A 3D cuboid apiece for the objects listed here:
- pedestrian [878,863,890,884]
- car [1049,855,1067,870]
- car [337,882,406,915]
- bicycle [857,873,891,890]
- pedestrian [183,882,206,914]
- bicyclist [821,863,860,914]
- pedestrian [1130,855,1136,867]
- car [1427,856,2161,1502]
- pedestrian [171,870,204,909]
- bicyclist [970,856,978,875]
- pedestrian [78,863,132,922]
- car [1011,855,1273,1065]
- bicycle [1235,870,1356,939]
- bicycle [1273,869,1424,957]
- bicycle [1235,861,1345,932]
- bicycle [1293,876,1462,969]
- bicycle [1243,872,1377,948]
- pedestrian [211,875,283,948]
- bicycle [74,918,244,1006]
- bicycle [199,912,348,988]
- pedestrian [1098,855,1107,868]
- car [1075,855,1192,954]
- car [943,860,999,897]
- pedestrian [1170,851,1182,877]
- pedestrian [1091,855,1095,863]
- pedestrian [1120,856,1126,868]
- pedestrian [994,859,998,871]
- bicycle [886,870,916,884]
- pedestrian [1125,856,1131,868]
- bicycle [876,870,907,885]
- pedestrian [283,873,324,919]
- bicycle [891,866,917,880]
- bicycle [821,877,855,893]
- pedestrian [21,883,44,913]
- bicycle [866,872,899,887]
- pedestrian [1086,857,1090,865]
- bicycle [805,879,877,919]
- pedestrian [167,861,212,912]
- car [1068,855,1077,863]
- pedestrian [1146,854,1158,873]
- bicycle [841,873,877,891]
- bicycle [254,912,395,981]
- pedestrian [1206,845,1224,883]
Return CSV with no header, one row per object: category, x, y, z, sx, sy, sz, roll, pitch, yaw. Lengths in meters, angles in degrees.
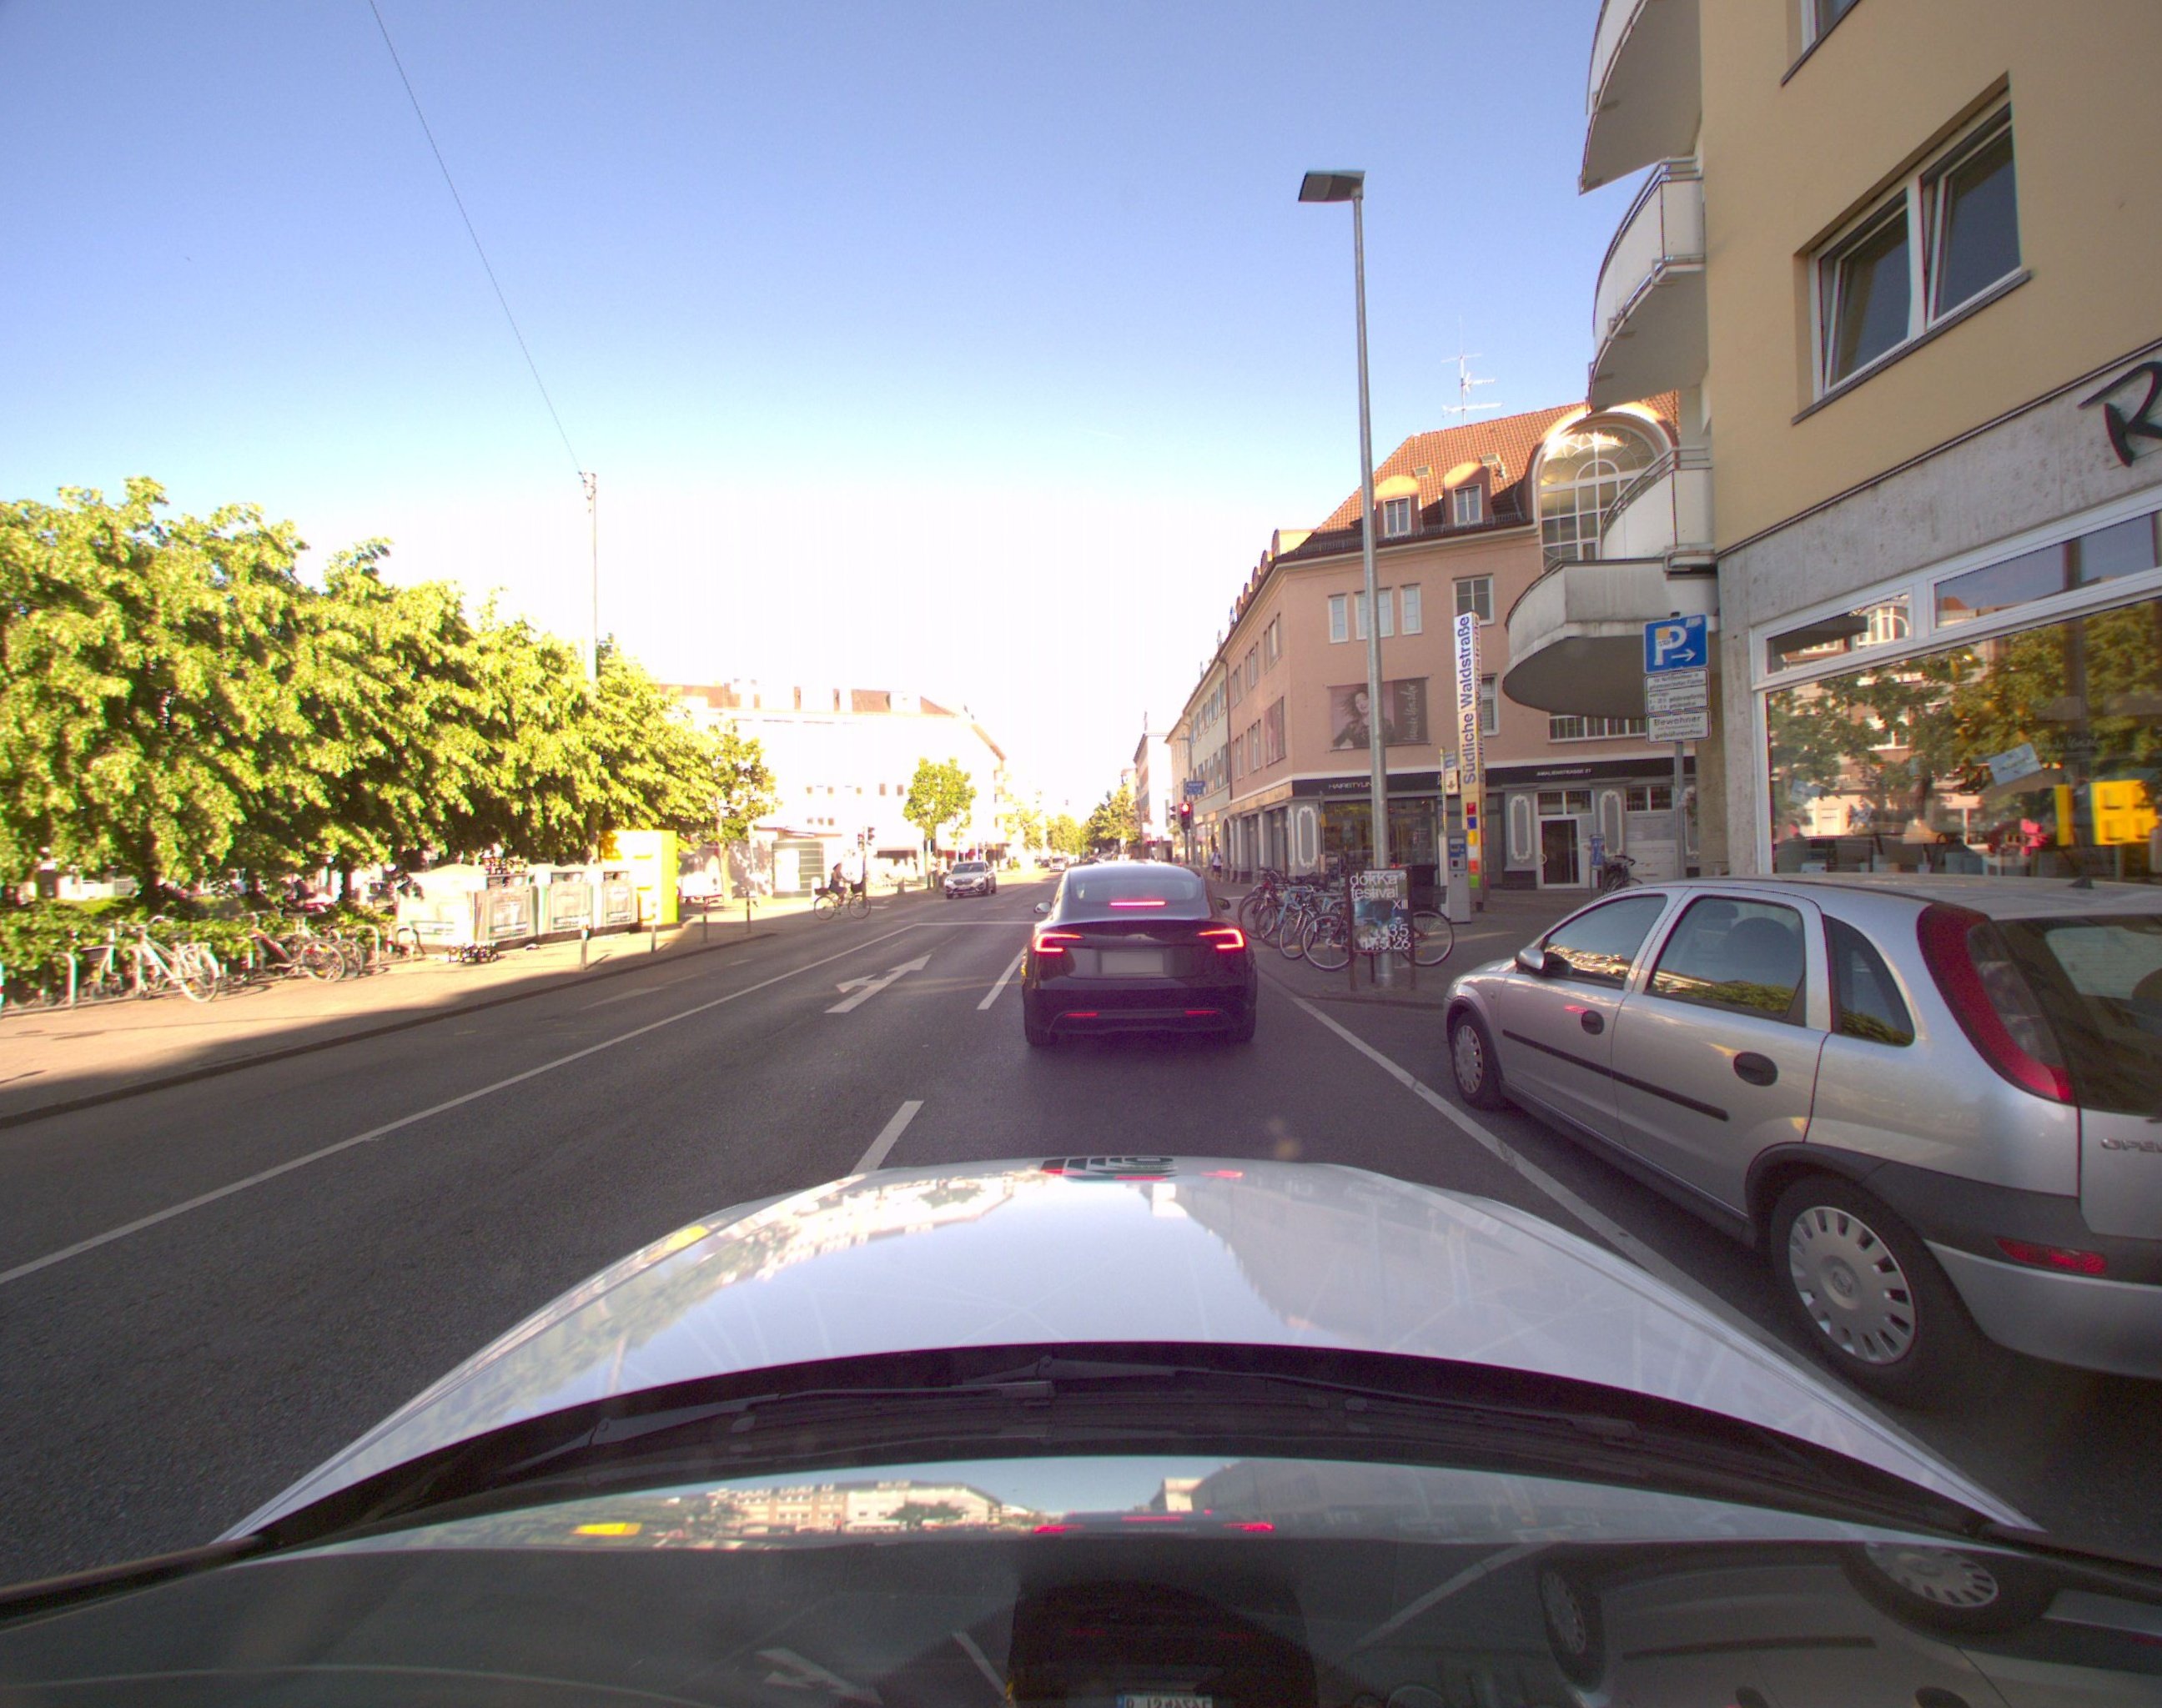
pedestrian,-18.990,1.877,78.505,1.060,2.014,1.049,0,-1,-18
car,-2.649,0.973,93.456,1.780,1.646,4.404,0,-1,2
car,-33.412,2.068,38.338,3.526,1.386,1.703,-1,0,36
bicycle,-12.122,1.615,47.722,1.857,0.934,0.606,0,-1,0
pedestrian,-48.864,2.437,44.891,0.842,1.717,0.761,-2,-1,35
bicyclist,-7.152,1.025,24.231,0.885,1.482,0.703,0,-1,9
pedestrian,6.129,0.862,95.830,0.524,1.422,0.475,0,-1,-28
car,2.945,0.724,3.512,1.540,1.390,3.479,-1,-1,3
pedestrian,-40.142,1.595,36.587,0.754,1.698,0.793,-1,0,25
bicyclist,-8.759,0.938,66.542,0.525,1.503,0.472,0,-1,-23
pedestrian,-34.222,1.335,28.568,0.890,2.013,0.893,-1,0,15
car,0.490,0.763,7.730,1.815,1.442,4.001,-1,-1,2
bicycle,3.567,0.842,13.647,1.863,1.038,0.548,-3,-1,7
bicycle,3.646,0.807,11.189,1.864,1.087,0.415,-3,-1,5
bicycle,3.773,0.761,14.783,1.818,1.169,0.507,-3,-1,7
bicycle,3.614,0.839,10.006,1.862,1.038,0.354,-3,-1,8
bicycle,3.487,0.853,12.480,1.864,1.038,0.534,-3,-1,5
pedestrian,-23.980,1.619,23.434,1.051,2.014,0.971,0,-1,-10
bicycle,-11.627,1.341,10.273,1.919,1.015,0.518,-1,-1,12
bicycle,-11.537,1.356,11.640,1.913,1.003,0.518,-1,-1,11
pedestrian,2.743,0.964,104.179,0.719,1.695,0.843,-1,0,-26
car,0.791,0.750,13.941,1.712,1.425,3.757,-1,0,0
car,-4.858,1.046,36.440,1.782,1.460,3.759,-4,-1,2
pedestrian,6.568,0.681,56.412,0.704,1.742,0.540,-1,0,1
pedestrian,3.015,1.266,204.681,0.927,2.014,0.939,0,-1,1
pedestrian,4.948,0.889,95.894,0.474,1.417,0.517,0,-1,-29
pedestrian,-10.109,1.278,97.208,0.459,1.460,0.517,-1,0,-3
bicycle,-12.186,1.557,55.227,1.857,0.934,0.606,-1,0,0
pedestrian,5.547,0.977,95.165,0.524,1.422,0.475,0,-1,-28
bicycle,-12.266,1.537,52.779,1.857,0.934,0.606,-1,0,0
pedestrian,-34.614,1.851,36.266,1.025,2.014,1.061,-1,-1,31
bicycle,-17.024,1.816,78.407,2.373,1.296,0.509,0,-1,-25
bicycle,-12.841,1.633,43.076,1.640,0.792,0.606,0,-1,-3
pedestrian,-77.957,3.242,60.566,0.891,2.171,0.882,-1,-1,26
bicycle,-12.246,1.562,50.202,1.857,0.934,0.606,0,-1,0
pedestrian,1.834,1.736,204.821,0.927,2.014,0.939,0,-1,1
bicycle,-7.125,1.336,24.222,1.922,1.118,0.711,-1,-1,9
pedestrian,-36.209,1.300,33.069,0.890,2.013,0.893,-1,0,15
car,-1.939,1.131,187.395,1.986,2.013,4.001,0,0,1
pedestrian,6.025,0.813,69.482,0.756,1.631,0.951,0,-1,-16
bicycle,-12.433,1.555,45.651,1.857,0.934,0.606,-1,0,0
bicycle,-11.325,1.373,12.197,1.888,0.955,0.518,-1,-1,11
pedestrian,6.405,0.476,38.901,0.747,1.765,0.838,-1,-1,6
